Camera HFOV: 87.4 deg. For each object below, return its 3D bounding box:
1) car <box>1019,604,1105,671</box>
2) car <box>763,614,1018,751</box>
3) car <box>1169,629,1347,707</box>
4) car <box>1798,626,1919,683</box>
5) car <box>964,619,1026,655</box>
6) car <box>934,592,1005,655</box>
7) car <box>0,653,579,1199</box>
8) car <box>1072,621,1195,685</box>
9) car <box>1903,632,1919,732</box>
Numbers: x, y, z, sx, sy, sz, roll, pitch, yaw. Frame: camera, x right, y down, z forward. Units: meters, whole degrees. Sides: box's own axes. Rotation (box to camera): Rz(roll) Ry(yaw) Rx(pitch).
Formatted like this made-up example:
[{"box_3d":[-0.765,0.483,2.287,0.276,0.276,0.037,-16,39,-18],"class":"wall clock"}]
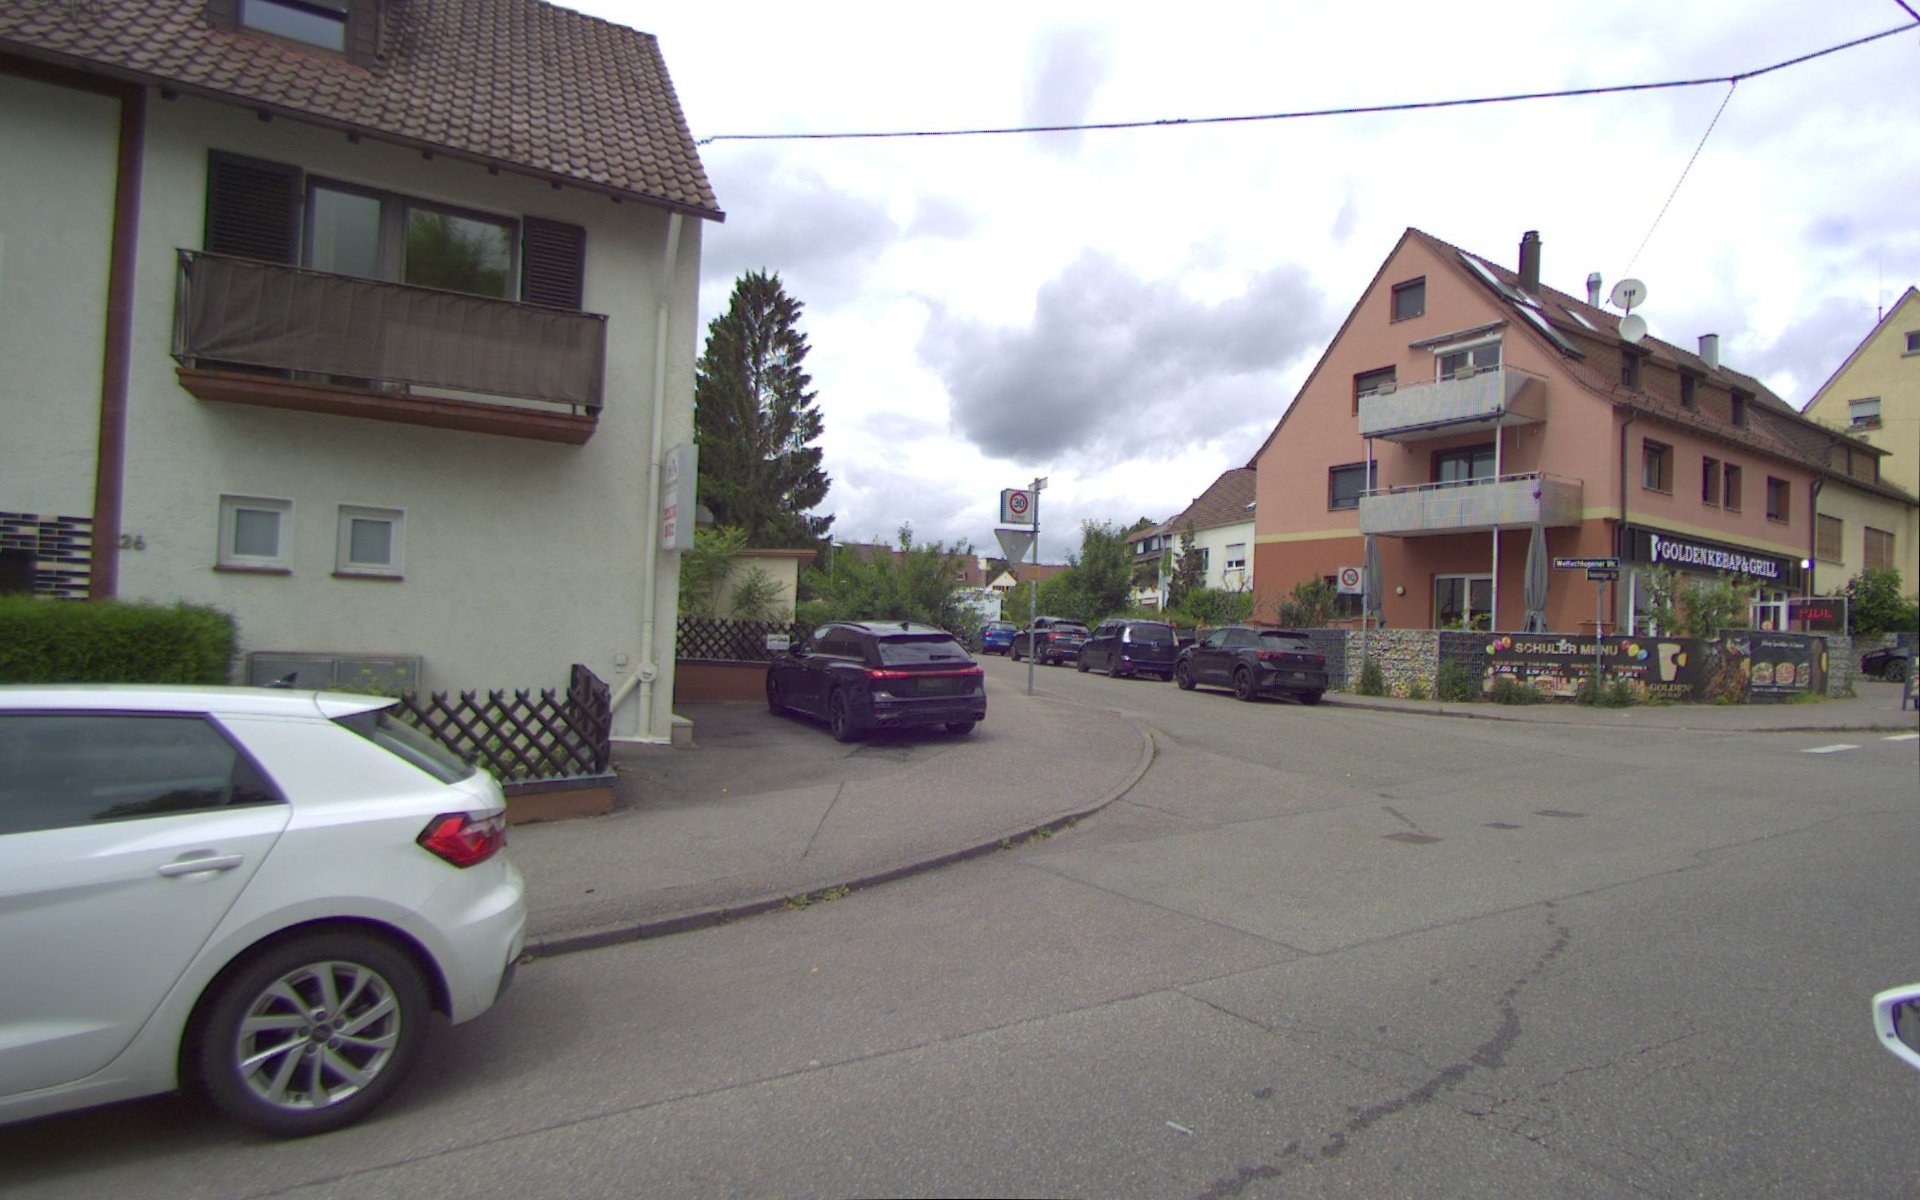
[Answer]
[{"box_3d":[3.363,1.260,33.857,1.963,2.040,3.996,3,-2,-7],"class":"car"},{"box_3d":[-1.161,0.985,13.971,1.974,1.492,4.502,1,0,-26],"class":"car"},{"box_3d":[6.453,1.438,22.309,1.965,1.491,4.411,3,-2,-10],"class":"car"},{"box_3d":[26.051,1.511,27.642,1.978,1.491,4.209,5,-4,-30],"class":"car"},{"box_3d":[1.450,1.575,43.218,1.897,1.409,3.993,1,0,-10],"class":"car"},{"box_3d":[0.383,1.086,48.902,2.634,2.861,5.467,1,0,-9],"class":"car"},{"box_3d":[-3.409,0.941,3.260,3.853,1.477,1.719,2,-5,-30],"class":"car"},{"box_3d":[4.769,1.456,28.307,1.965,1.583,4.411,3,-2,-10],"class":"car"},{"box_3d":[17.533,1.287,16.338,3.977,1.598,1.829,1,-4,-25],"class":"car"}]
